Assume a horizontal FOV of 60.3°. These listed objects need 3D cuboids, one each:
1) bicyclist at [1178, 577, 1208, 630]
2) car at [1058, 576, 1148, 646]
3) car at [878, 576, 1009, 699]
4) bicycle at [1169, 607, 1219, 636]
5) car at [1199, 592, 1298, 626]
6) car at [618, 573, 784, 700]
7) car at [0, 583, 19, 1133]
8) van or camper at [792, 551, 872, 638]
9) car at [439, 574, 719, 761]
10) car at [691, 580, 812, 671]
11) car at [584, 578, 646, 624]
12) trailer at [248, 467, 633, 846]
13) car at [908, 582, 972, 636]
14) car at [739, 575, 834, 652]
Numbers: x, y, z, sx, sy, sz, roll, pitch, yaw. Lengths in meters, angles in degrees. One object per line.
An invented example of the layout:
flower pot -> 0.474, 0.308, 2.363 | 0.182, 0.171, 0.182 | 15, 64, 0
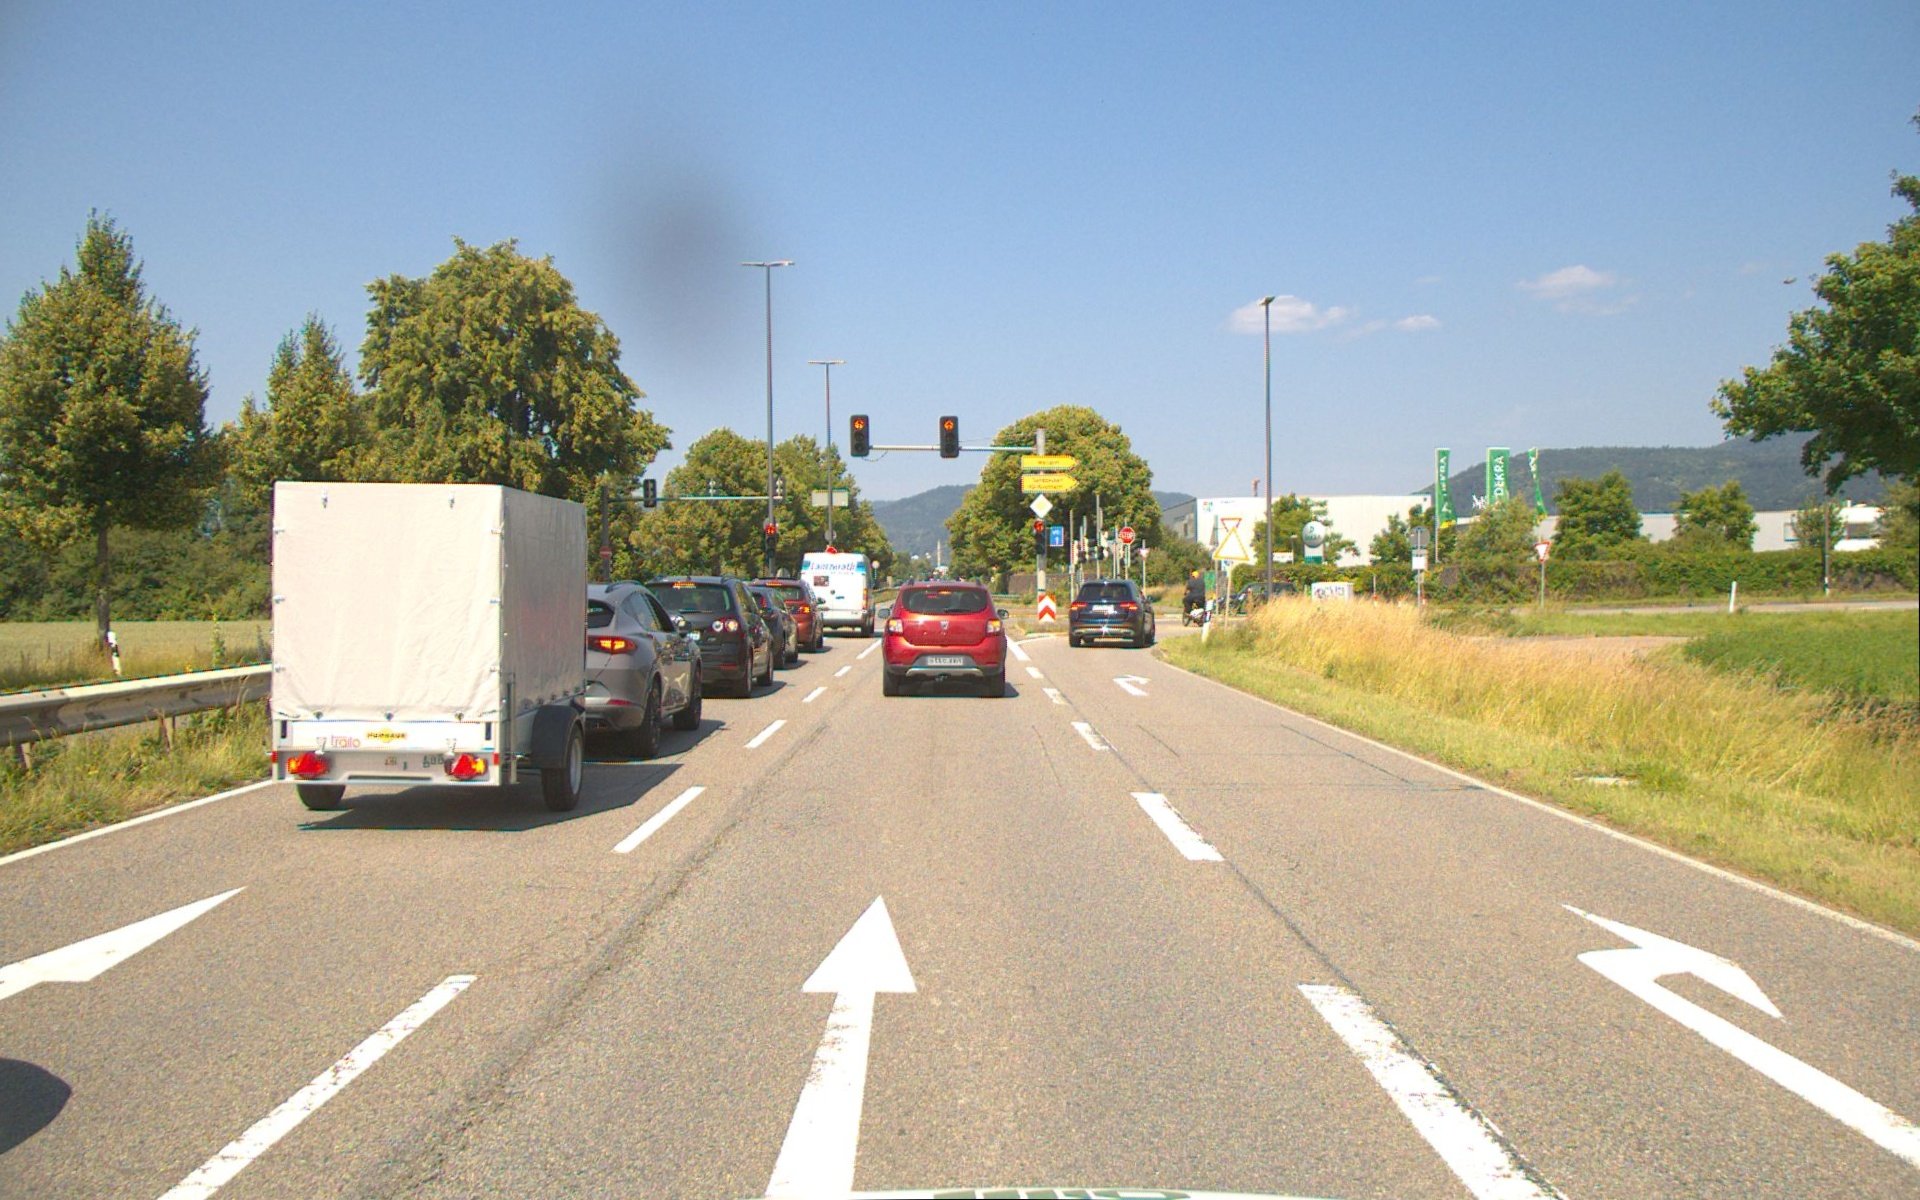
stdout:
bicyclist -> 8.072, 0.107, 57.368 | 0.788, 1.802, 0.806 | -1, 1, -14
car -> 3.525, 0.234, 41.571 | 1.952, 1.645, 4.340 | 0, 1, 1
car -> -0.184, 0.476, 23.659 | 1.713, 1.603, 3.677 | 0, 1, 1
bicycle -> 8.101, 0.735, 57.418 | 0.748, 0.931, 2.770 | -1, 1, -13
car -> 11.891, 0.360, 68.386 | 3.902, 1.350, 1.808 | -1, 1, 6
car -> -3.506, 0.449, 23.028 | 1.688, 1.603, 3.892 | 0, 0, 0
car -> -3.416, 0.712, 2.523 | 1.682, 1.490, 4.030 | 0, 1, -1
van or camper -> -3.611, -0.166, 47.395 | 2.135, 2.343, 4.824 | 1, 0, -3
car -> -3.445, 0.530, 15.761 | 1.710, 1.529, 4.362 | 0, 1, -1
car -> -3.732, 0.412, 30.188 | 1.667, 1.467, 3.956 | 1, 1, 0
car -> -14.724, 0.030, 70.816 | 1.820, 1.888, 4.695 | -1, 1, -2
trailer -> -3.444, 0.312, 11.746 | 1.470, 2.211, 4.173 | 0, 0, -1
car -> -0.543, 0.218, 47.477 | 1.713, 1.483, 3.677 | 0, 1, 1
car -> -3.817, 0.262, 36.979 | 1.689, 1.628, 3.955 | 0, 1, 0
